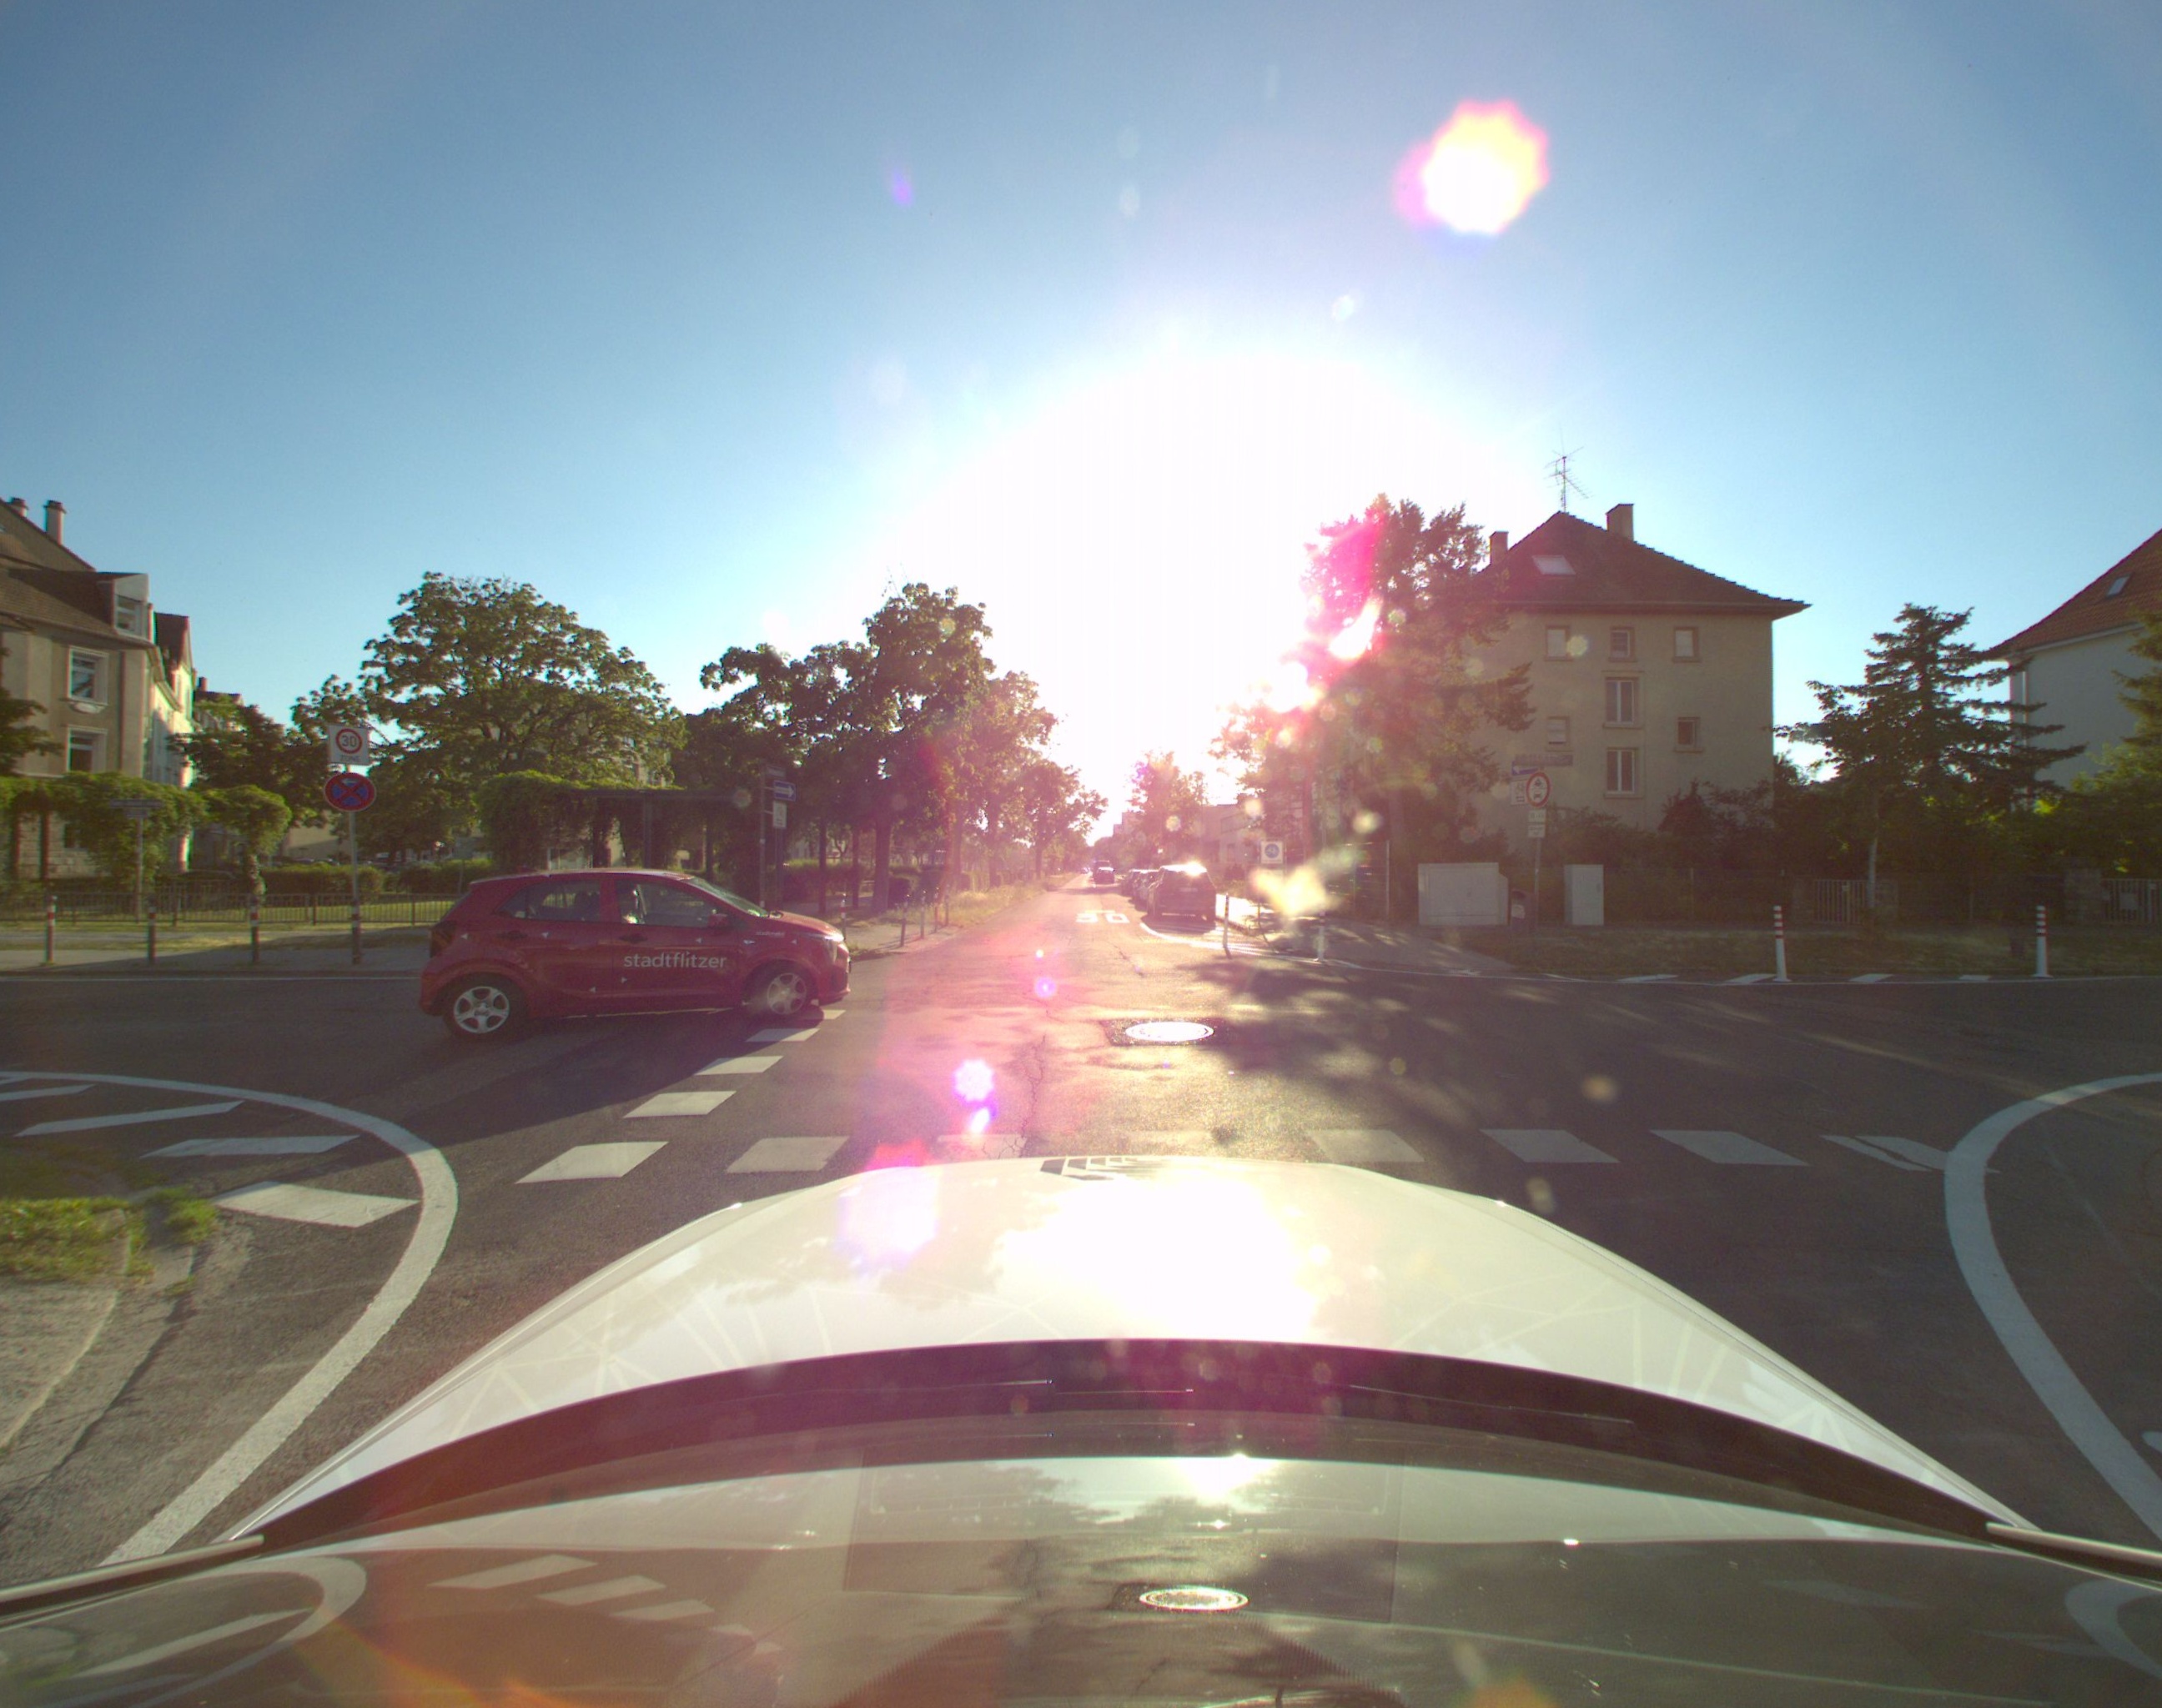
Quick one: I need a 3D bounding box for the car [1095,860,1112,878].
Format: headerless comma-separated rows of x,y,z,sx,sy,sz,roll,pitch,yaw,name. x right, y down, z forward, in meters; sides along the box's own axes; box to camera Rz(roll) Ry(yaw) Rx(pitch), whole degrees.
2.757,1.833,100.722,1.987,2.124,4.000,0,-1,1,car

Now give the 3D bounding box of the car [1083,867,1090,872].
1.505,4.384,230.557,1.860,1.618,3.998,0,-1,-1,car

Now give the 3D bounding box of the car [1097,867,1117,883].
2.613,2.132,83.034,1.752,1.518,3.757,0,-1,-2,car

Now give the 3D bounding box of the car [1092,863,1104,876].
2.962,2.659,139.954,1.987,2.124,4.000,0,-1,1,car

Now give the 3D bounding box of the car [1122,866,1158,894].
3.463,1.518,48.229,1.760,1.526,3.770,-1,-1,-1,car

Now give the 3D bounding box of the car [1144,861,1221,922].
3.039,1.099,25.194,1.811,1.641,4.215,3,-1,0,car

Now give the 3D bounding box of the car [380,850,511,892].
-43.179,1.157,55.570,6.707,2.745,2.296,1,-1,-29,car

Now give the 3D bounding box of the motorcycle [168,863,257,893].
-44.958,1.217,42.186,3.222,1.487,0.850,-1,-2,-12,motorcycle

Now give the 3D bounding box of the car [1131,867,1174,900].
3.382,1.365,39.026,1.724,1.518,3.759,0,-1,0,car

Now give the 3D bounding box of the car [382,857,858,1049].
-4.238,0.836,8.154,3.772,1.526,1.759,-1,-1,-19,car

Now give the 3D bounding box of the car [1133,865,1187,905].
3.227,1.262,34.031,1.760,1.526,3.770,-1,-1,-2,car

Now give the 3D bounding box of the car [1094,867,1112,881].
2.352,2.160,87.571,1.725,1.518,3.757,0,-1,-2,car
